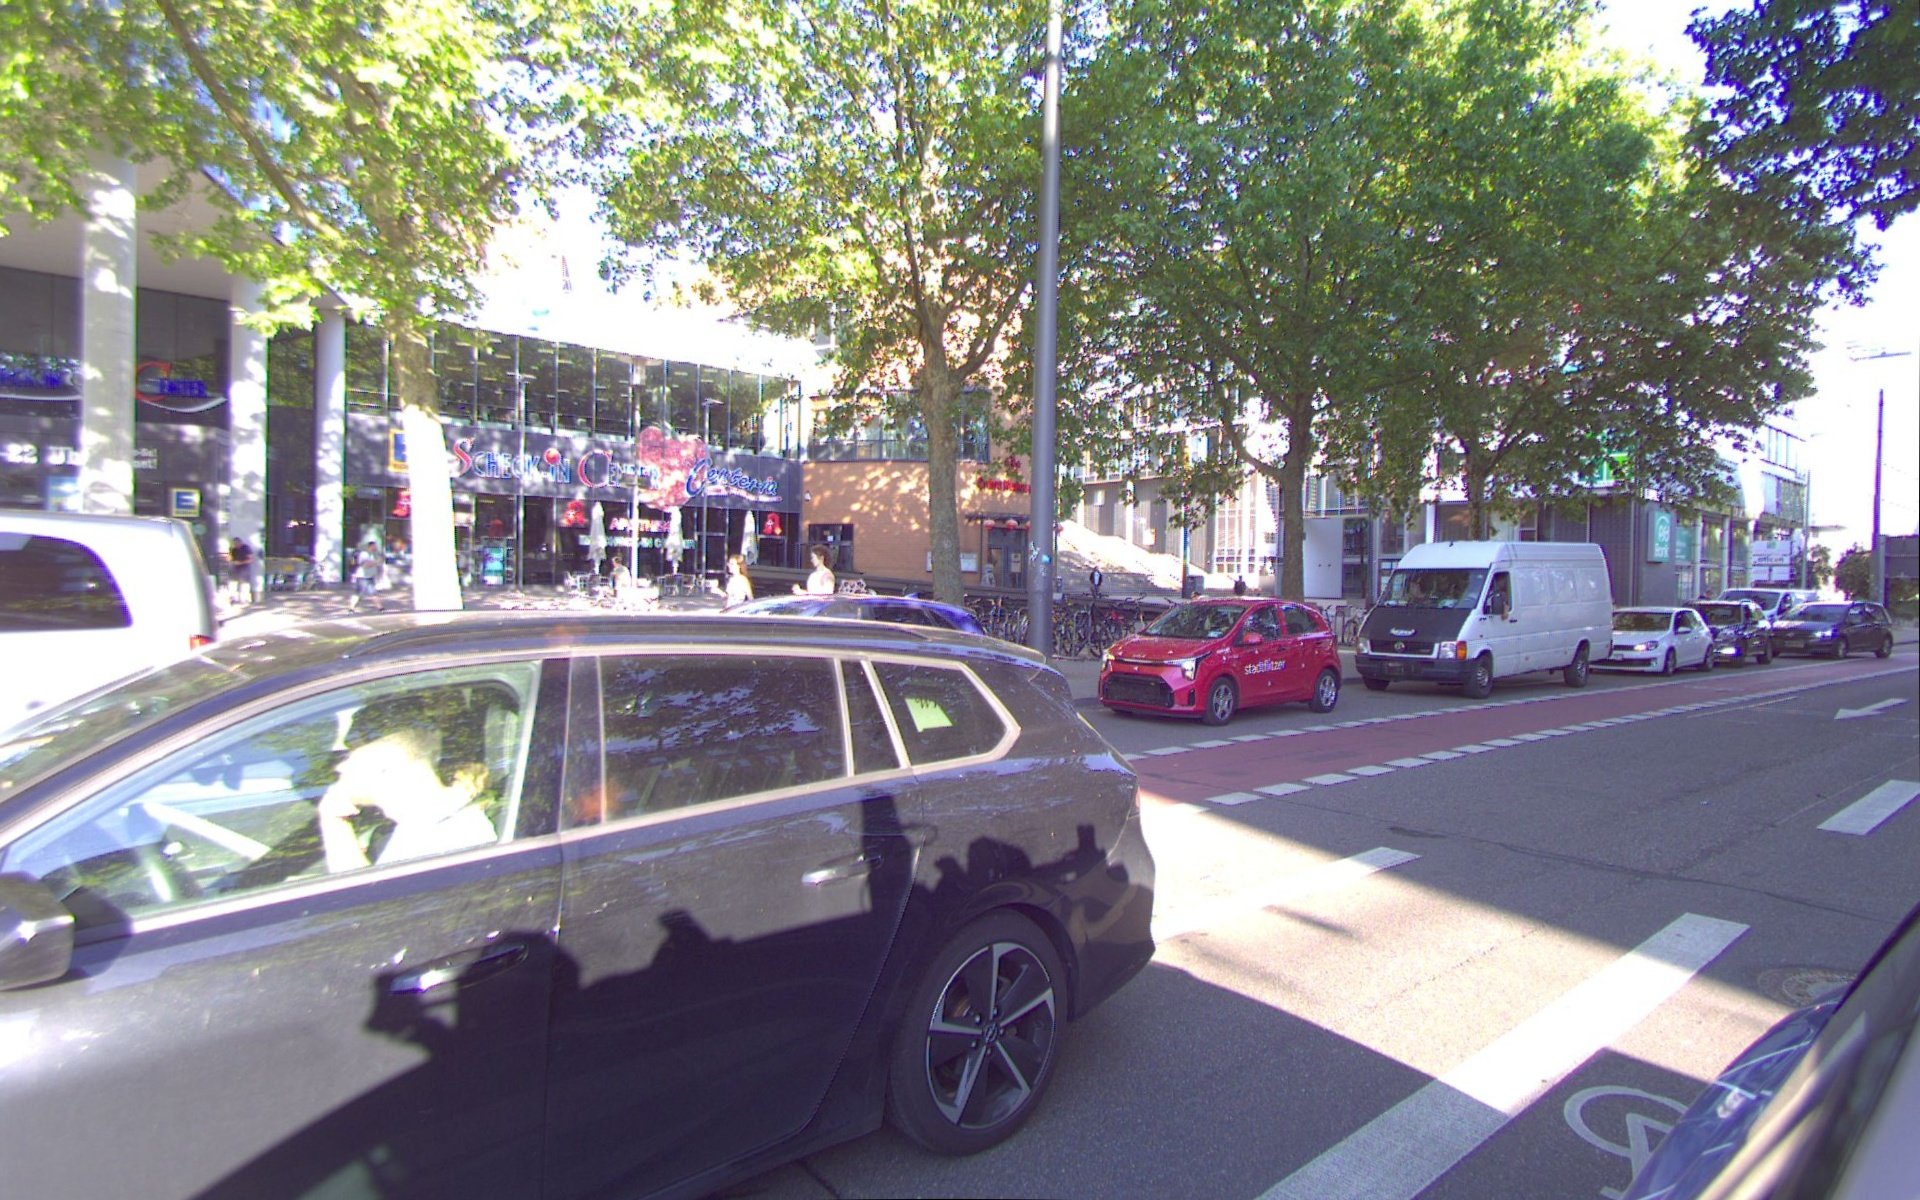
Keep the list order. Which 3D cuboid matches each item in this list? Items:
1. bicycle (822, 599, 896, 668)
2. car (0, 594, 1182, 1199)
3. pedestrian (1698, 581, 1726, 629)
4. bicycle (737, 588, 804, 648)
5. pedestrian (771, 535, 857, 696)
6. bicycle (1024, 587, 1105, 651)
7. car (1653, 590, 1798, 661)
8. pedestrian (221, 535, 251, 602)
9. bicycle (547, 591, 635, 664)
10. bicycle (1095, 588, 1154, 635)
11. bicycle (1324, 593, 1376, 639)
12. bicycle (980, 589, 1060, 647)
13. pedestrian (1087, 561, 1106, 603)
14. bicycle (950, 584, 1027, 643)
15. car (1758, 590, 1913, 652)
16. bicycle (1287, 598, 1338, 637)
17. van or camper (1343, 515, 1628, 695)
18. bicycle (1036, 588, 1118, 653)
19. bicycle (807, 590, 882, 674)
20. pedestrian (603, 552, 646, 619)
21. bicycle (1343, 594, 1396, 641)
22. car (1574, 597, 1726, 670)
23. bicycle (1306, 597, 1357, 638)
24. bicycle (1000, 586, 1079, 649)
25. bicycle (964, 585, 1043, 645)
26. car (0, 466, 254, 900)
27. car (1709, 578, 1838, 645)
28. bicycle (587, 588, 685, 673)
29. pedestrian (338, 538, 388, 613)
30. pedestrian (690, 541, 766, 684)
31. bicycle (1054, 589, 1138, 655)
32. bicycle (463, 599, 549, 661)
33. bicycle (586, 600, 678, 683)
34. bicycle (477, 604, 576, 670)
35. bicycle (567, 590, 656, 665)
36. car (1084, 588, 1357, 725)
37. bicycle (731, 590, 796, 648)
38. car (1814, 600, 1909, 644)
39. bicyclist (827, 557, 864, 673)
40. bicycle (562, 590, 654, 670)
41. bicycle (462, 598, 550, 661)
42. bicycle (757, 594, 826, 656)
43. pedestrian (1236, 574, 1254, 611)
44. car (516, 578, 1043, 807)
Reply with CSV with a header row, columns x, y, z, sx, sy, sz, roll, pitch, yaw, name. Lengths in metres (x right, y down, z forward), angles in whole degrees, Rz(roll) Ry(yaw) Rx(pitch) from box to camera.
x,y,z,sx,sy,sz,roll,pitch,yaw,name
-1.702,0.543,17.066,1.202,1.110,0.420,0,1,-40,bicycle
-1.453,0.704,2.441,4.196,1.432,1.742,0,0,-41,car
28.922,0.179,38.914,0.516,1.790,0.716,0,1,-39,pedestrian
-3.643,0.342,19.504,1.202,1.110,0.444,0,1,-40,bicycle
-1.765,0.169,12.234,0.798,1.868,0.644,1,1,-36,pedestrian
2.110,0.361,20.258,1.818,1.209,0.484,0,1,-41,bicycle
19.220,0.588,25.361,4.148,1.640,1.819,0,1,-36,car
-18.759,-0.802,26.216,0.506,1.707,0.604,1,1,-23,pedestrian
-5.909,0.418,16.235,0.414,1.110,1.269,2,1,41,bicycle
4.405,0.304,27.048,1.759,1.209,0.517,0,2,-41,bicycle
10.665,0.413,27.630,1.818,1.209,0.495,0,2,-41,bicycle
1.256,0.350,20.968,1.818,1.139,0.484,0,2,-41,bicycle
6.729,-0.877,49.917,0.861,2.062,0.585,1,1,6,pedestrian
0.637,0.270,21.701,1.818,1.209,0.434,0,1,-41,bicycle
25.204,0.577,29.119,4.242,1.640,1.970,0,1,-28,car
9.926,0.471,28.453,1.818,1.046,0.515,0,2,-41,bicycle
9.284,0.061,17.541,6.456,2.611,1.998,0,0,-39,van or camper
2.299,0.386,19.750,1.818,1.209,0.448,0,1,-41,bicycle
-1.791,0.480,15.792,1.126,1.271,0.379,0,1,-41,bicycle
-8.821,-0.377,26.619,0.795,1.728,0.714,1,1,17,pedestrian
11.033,0.455,27.232,1.818,1.209,0.521,0,2,-41,bicycle
15.271,0.674,22.327,3.927,1.446,1.683,0,1,-38,car
10.309,0.467,28.043,1.766,1.108,0.522,0,2,-41,bicycle
1.629,0.338,20.519,1.818,1.209,0.447,0,1,-41,bicycle
0.935,0.295,21.347,1.818,1.209,0.458,0,1,-41,bicycle
-6.209,0.355,4.373,5.008,2.004,1.940,0,2,-41,car
26.449,0.342,32.845,4.863,2.020,1.968,0,1,-35,car
-4.435,0.398,13.883,1.202,1.110,0.413,0,1,-40,bicycle
-14.561,-0.596,24.709,0.869,1.805,0.604,1,1,-9,pedestrian
-3.032,0.144,13.226,0.750,1.799,0.648,1,1,-38,pedestrian
2.621,0.397,19.364,1.818,1.209,0.481,0,1,-41,bicycle
-7.121,0.462,15.920,1.198,0.938,0.465,1,1,-22,bicycle
-4.580,0.563,14.180,1.202,1.110,0.269,0,1,-40,bicycle
-6.238,0.518,14.595,1.231,0.898,0.462,0,1,-40,bicycle
-5.359,0.405,15.587,0.372,1.110,1.269,2,1,41,bicycle
3.381,0.607,12.828,3.588,1.476,1.605,0,1,-41,car
-3.887,0.371,20.048,1.202,1.110,0.429,0,1,-40,bicycle
31.647,0.732,35.510,3.927,1.394,1.802,0,2,-38,car
-1.787,0.225,15.801,0.392,1.782,0.390,0,1,-41,bicyclist
-5.157,0.423,14.839,1.202,1.110,0.396,0,1,-40,bicycle
-6.958,0.453,15.542,1.198,0.930,0.442,1,1,-22,bicycle
-3.131,0.443,18.822,1.202,1.110,0.427,0,1,-40,bicycle
12.315,-0.339,43.726,0.707,1.578,0.638,1,1,14,pedestrian
-1.361,0.601,8.689,4.177,1.504,1.741,0,0,-41,car
